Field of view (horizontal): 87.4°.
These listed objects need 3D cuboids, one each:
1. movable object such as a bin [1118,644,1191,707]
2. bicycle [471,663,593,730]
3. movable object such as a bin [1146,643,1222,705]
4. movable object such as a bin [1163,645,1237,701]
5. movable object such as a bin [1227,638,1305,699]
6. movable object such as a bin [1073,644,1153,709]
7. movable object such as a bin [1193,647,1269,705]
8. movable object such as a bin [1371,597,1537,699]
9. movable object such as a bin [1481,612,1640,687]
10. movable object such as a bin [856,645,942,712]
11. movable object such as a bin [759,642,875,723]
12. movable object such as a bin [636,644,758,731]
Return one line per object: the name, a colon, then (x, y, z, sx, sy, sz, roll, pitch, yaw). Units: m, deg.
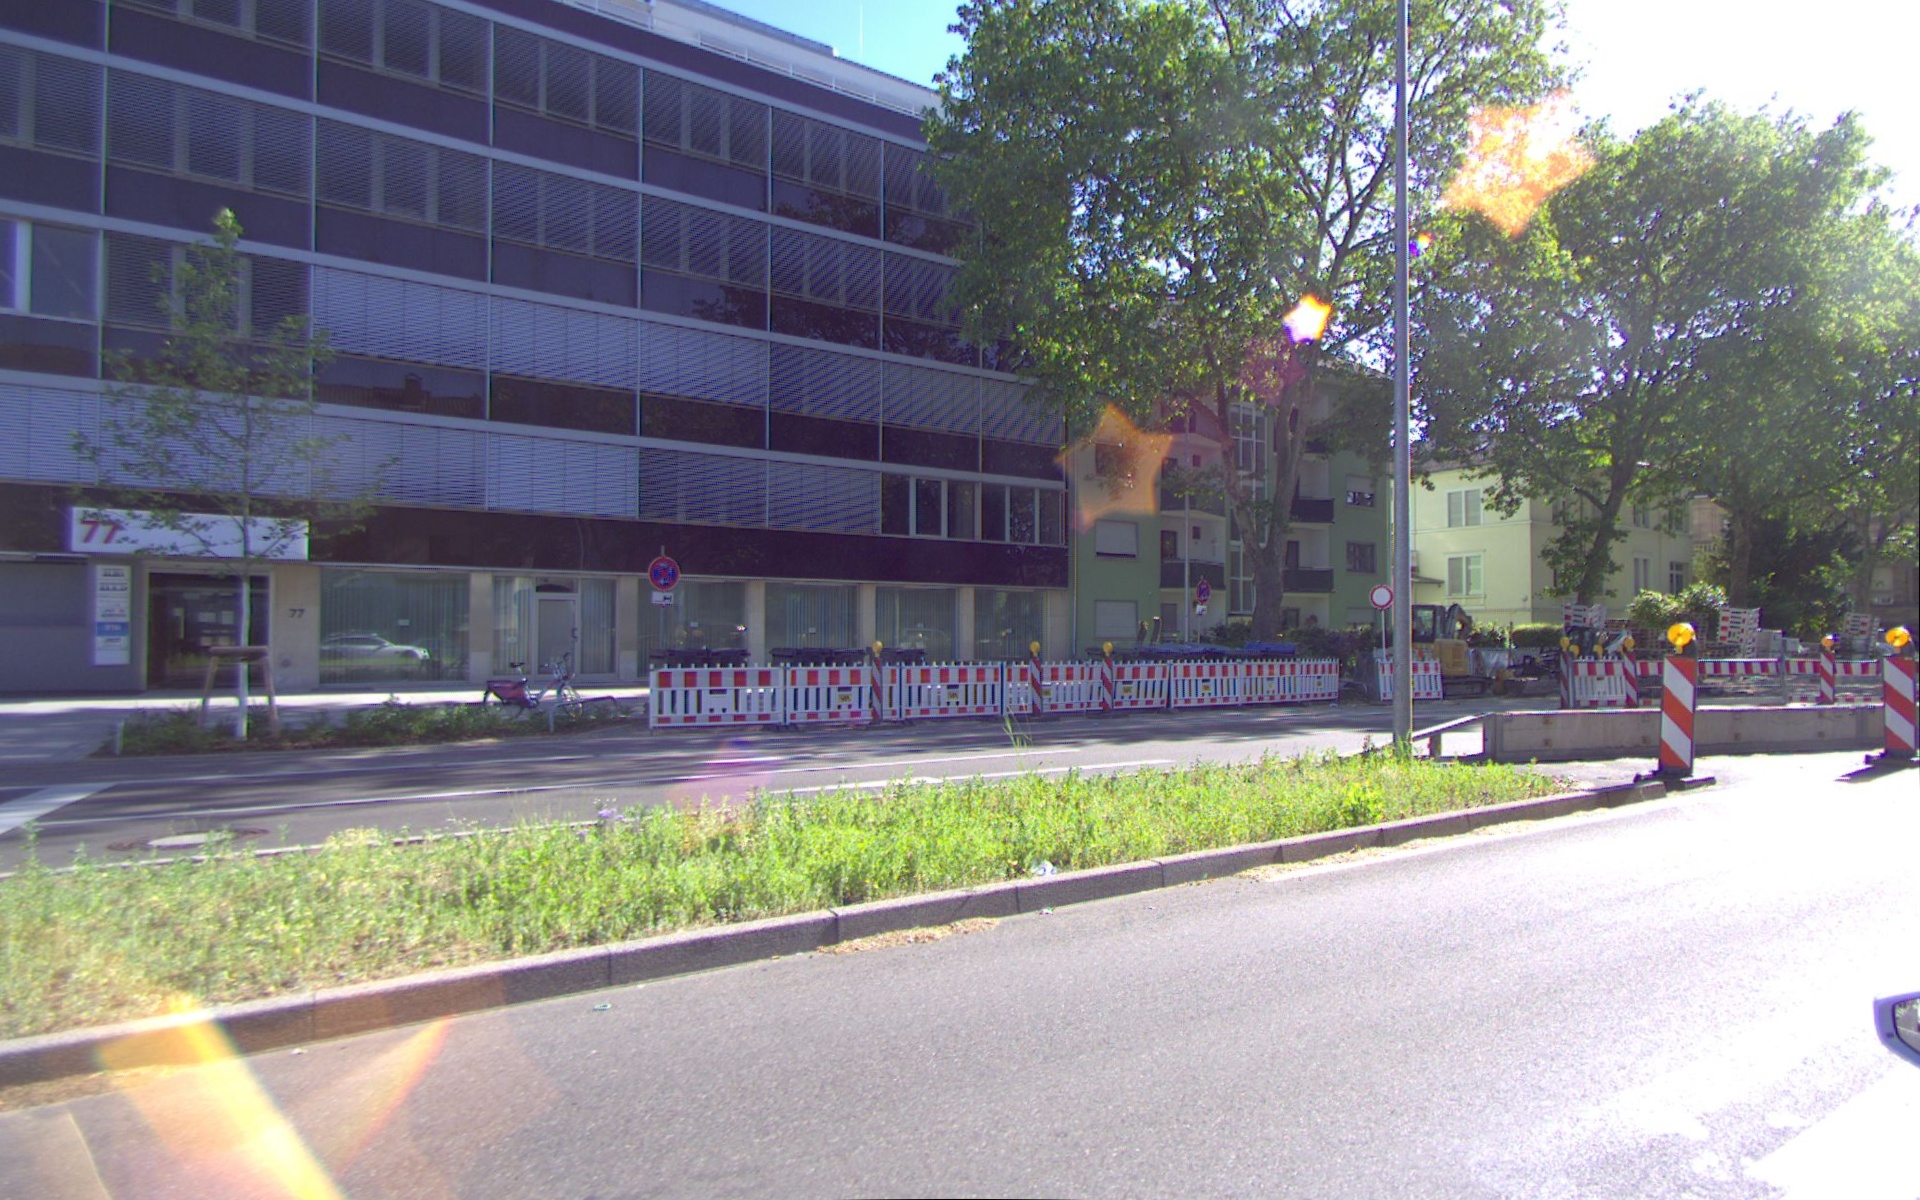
movable object such as a bin: (4.369, 1.673, 22.629, 0.924, 1.355, 1.404, 1, -1, -29)
bicycle: (-7.343, 1.635, 17.246, 1.857, 1.051, 0.624, 1, -1, -31)
movable object such as a bin: (5.176, 1.679, 23.271, 1.056, 1.355, 1.404, 1, -1, -30)
movable object such as a bin: (5.881, 1.761, 24.609, 1.523, 1.287, 0.974, 1, -1, -32)
movable object such as a bin: (7.658, 1.693, 25.141, 1.607, 1.441, 1.260, 0, -2, 33)
movable object such as a bin: (3.363, 1.667, 22.221, 1.143, 1.355, 1.404, 1, -1, -29)
movable object such as a bin: (6.395, 1.762, 23.738, 1.523, 1.287, 0.974, 1, -1, -32)
movable object such as a bin: (14.587, 1.373, 29.542, 5.301, 2.742, 2.133, 1, -2, -35)
movable object such as a bin: (19.703, 1.612, 32.889, 5.531, 2.308, 1.985, 1, -3, -30)
movable object such as a bin: (-1.207, 1.519, 19.716, 1.226, 1.219, 1.388, 1, -1, -28)
movable object such as a bin: (-2.681, 1.506, 18.833, 1.833, 1.406, 1.209, 1, -2, -30)
movable object such as a bin: (-4.588, 1.492, 17.520, 1.833, 1.406, 1.109, 1, -1, -30)
